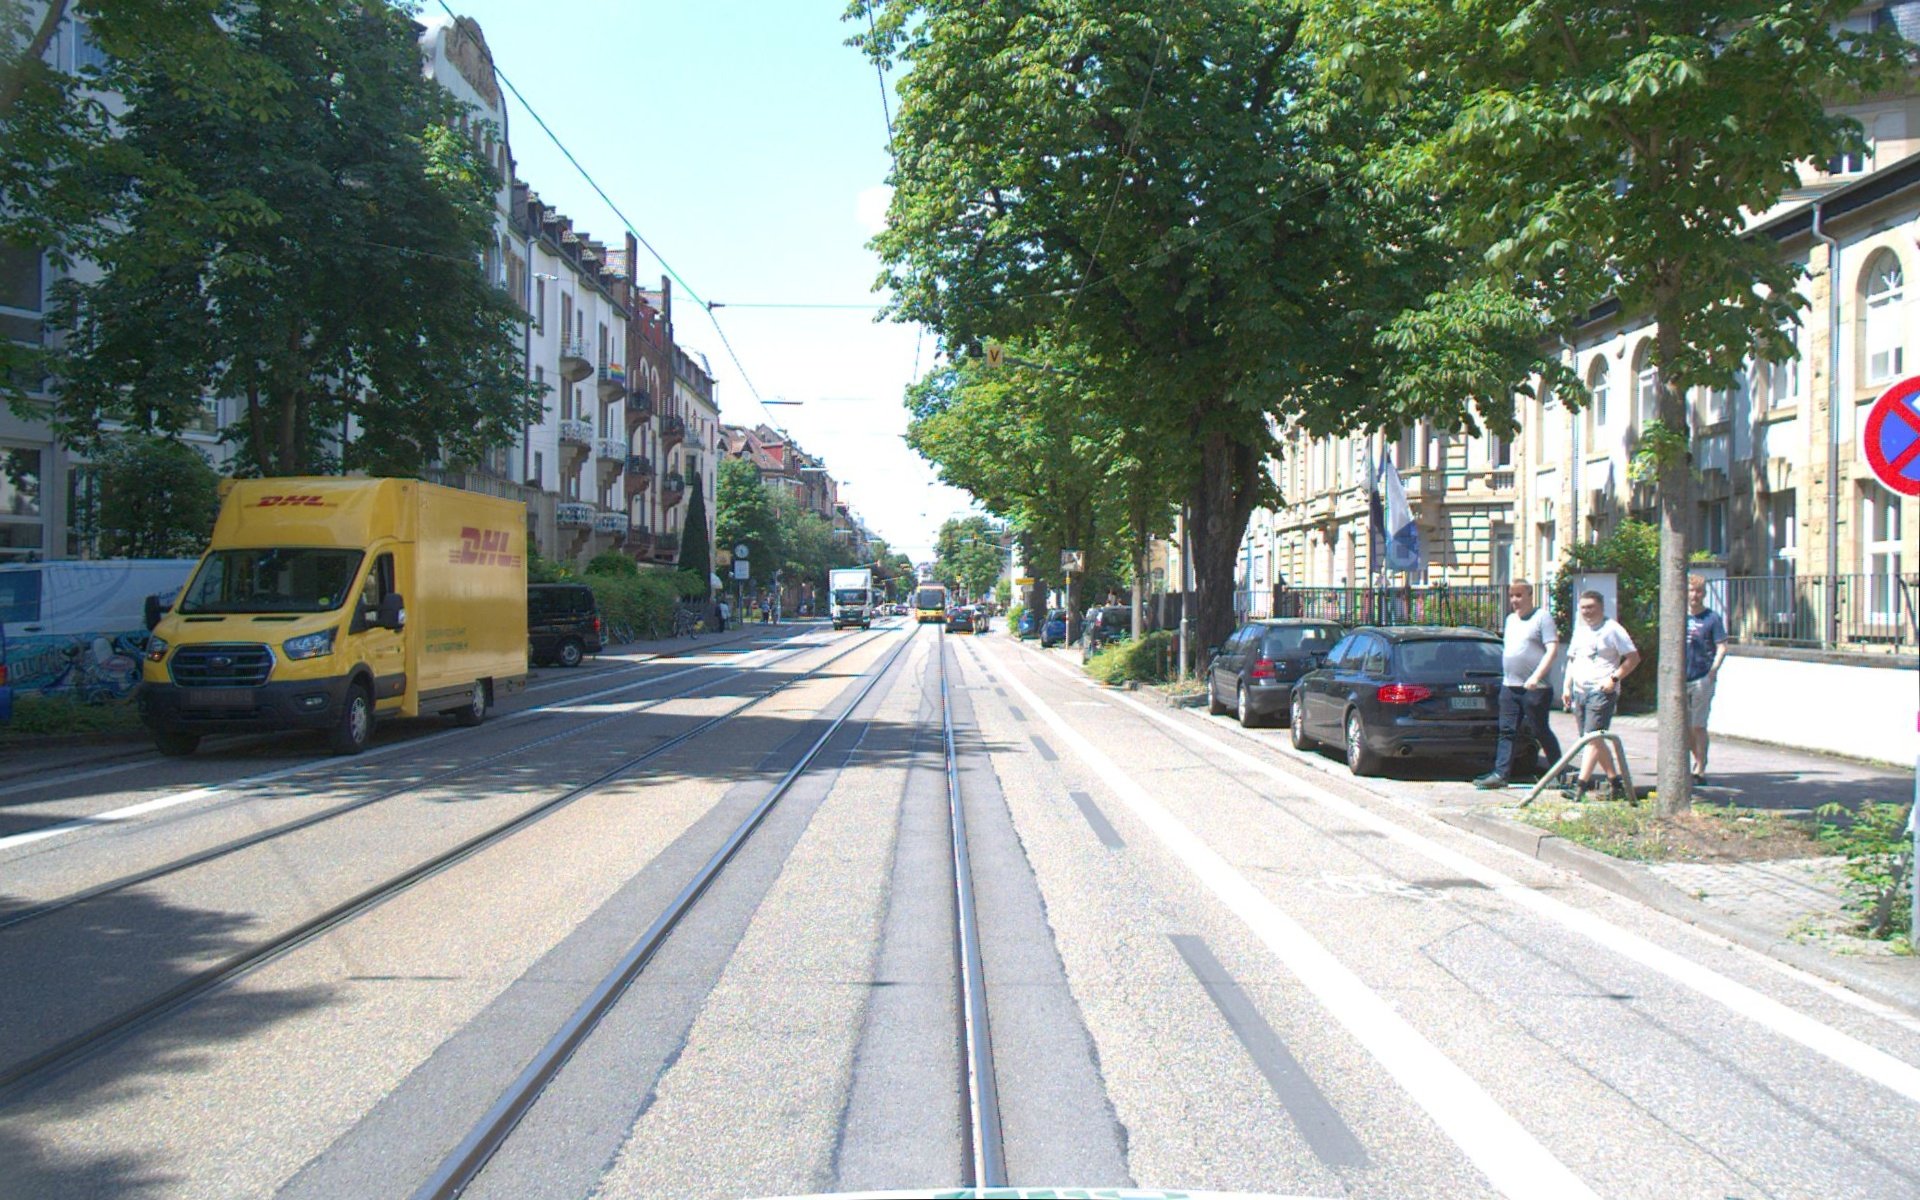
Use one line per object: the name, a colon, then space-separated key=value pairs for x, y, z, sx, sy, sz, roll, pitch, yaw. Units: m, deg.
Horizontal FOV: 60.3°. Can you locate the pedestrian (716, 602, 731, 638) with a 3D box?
pedestrian: x=-10.901 y=0.914 z=76.389 sx=0.561 sy=1.644 sz=0.816 roll=0 pitch=0 yaw=0

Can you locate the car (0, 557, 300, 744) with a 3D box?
car: x=-10.691 y=0.560 z=19.925 sx=4.718 sy=2.098 sz=1.997 roll=-1 pitch=0 yaw=-40

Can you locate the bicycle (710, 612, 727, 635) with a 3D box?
bicycle: x=-11.470 y=1.113 z=78.543 sx=0.532 sy=0.986 sz=1.781 roll=2 pitch=1 yaw=0

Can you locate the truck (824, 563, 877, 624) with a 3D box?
truck: x=-6.750 y=-0.403 z=103.016 sx=2.880 sy=3.612 sz=8.451 roll=0 pitch=0 yaw=-1

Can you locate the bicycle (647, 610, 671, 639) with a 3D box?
bicycle: x=-11.277 y=0.909 z=62.025 sx=0.532 sy=0.986 sz=1.990 roll=2 pitch=1 yaw=0

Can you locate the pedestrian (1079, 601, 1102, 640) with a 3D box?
pedestrian: x=5.334 y=0.840 z=67.501 sx=0.791 sy=1.557 sz=0.624 roll=0 pitch=-2 yaw=17

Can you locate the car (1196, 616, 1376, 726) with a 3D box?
car: x=4.599 y=0.951 z=23.931 sx=1.676 sy=1.448 sz=4.242 roll=0 pitch=-1 yaw=-2

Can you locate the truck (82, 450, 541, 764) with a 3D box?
truck: x=-6.943 y=0.051 z=19.012 sx=2.312 sy=2.902 sz=7.378 roll=0 pitch=0 yaw=0

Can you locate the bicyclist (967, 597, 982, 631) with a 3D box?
bicyclist: x=0.734 y=0.714 z=83.114 sx=0.609 sy=1.644 sz=0.865 roll=2 pitch=-2 yaw=8

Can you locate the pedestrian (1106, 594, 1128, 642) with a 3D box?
pedestrian: x=6.325 y=0.723 z=66.511 sx=0.792 sy=1.892 sz=0.576 roll=1 pitch=-2 yaw=-3

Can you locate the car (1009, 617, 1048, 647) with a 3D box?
car: x=3.452 y=1.591 z=83.437 sx=1.676 sy=1.448 sz=4.308 roll=0 pitch=-1 yaw=-2

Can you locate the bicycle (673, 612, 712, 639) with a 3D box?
bicycle: x=-10.428 y=1.001 z=64.534 sx=0.532 sy=0.986 sz=1.778 roll=1 pitch=-2 yaw=29

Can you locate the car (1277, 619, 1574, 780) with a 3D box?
car: x=4.734 y=0.943 z=17.546 sx=1.838 sy=1.480 sz=4.527 roll=0 pitch=-1 yaw=-1

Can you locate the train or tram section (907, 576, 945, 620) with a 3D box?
train or tram section: x=-2.808 y=-0.170 z=140.437 sx=2.973 sy=3.499 sz=11.969 roll=1 pitch=0 yaw=0

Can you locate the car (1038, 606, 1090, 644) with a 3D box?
car: x=4.056 y=0.971 z=65.162 sx=1.676 sy=1.448 sz=4.308 roll=0 pitch=-1 yaw=-2

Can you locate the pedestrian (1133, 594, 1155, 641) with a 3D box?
pedestrian: x=7.404 y=0.708 z=66.624 sx=0.792 sy=1.892 sz=0.623 roll=1 pitch=-2 yaw=-3

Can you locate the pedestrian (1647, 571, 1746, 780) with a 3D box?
pedestrian: x=6.423 y=0.645 z=14.439 sx=0.473 sy=1.768 sz=0.612 roll=0 pitch=-1 yaw=-37

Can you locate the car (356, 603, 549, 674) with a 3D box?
car: x=-11.162 y=0.843 z=36.483 sx=3.778 sy=1.482 sz=1.609 roll=1 pitch=-1 yaw=-41

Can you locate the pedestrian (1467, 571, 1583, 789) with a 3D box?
pedestrian: x=5.076 y=0.697 z=14.869 sx=0.570 sy=1.892 sz=0.800 roll=0 pitch=0 yaw=-36

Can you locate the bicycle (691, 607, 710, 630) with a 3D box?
bicycle: x=-11.627 y=0.814 z=74.212 sx=0.532 sy=0.986 sz=1.780 roll=2 pitch=0 yaw=0

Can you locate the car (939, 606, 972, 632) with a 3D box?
car: x=-0.264 y=1.024 z=91.091 sx=1.745 sy=1.369 sz=3.415 roll=1 pitch=0 yaw=-1

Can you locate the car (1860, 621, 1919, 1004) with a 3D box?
car: x=4.701 y=0.826 z=5.038 sx=1.606 sy=1.511 sz=3.869 roll=0 pitch=-1 yaw=-4

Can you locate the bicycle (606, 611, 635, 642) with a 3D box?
bicycle: x=-11.236 y=0.871 z=54.761 sx=0.532 sy=0.986 sz=1.989 roll=2 pitch=-1 yaw=0

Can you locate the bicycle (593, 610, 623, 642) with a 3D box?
bicycle: x=-11.219 y=0.838 z=52.775 sx=0.532 sy=0.986 sz=1.822 roll=2 pitch=-2 yaw=0

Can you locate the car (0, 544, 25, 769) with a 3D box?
car: x=-10.589 y=0.534 z=13.646 sx=1.815 sy=1.990 sz=4.701 roll=-1 pitch=0 yaw=43

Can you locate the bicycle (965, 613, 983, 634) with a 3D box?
bicycle: x=0.718 y=1.173 z=82.984 sx=0.625 sy=0.986 sz=1.782 roll=2 pitch=-2 yaw=8

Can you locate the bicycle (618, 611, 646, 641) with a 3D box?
bicycle: x=-11.247 y=0.914 z=56.786 sx=0.532 sy=0.986 sz=1.989 roll=2 pitch=-2 yaw=0

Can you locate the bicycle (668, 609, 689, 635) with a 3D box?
bicycle: x=-11.512 y=0.903 z=67.650 sx=0.532 sy=0.986 sz=1.781 roll=2 pitch=0 yaw=0

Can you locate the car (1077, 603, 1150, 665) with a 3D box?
car: x=4.219 y=0.932 z=45.957 sx=1.560 sy=1.645 sz=3.906 roll=0 pitch=-1 yaw=-2

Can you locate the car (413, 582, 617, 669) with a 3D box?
car: x=-10.633 y=0.611 z=39.685 sx=4.444 sy=1.974 sz=1.680 roll=1 pitch=-1 yaw=-40

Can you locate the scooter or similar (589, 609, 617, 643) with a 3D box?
scooter or similar: x=-11.020 y=0.801 z=51.093 sx=0.532 sy=0.986 sz=1.499 roll=2 pitch=0 yaw=0

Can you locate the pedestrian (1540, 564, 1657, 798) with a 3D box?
pedestrian: x=5.335 y=0.653 z=13.824 sx=0.570 sy=1.892 sz=0.717 roll=0 pitch=0 yaw=-37
